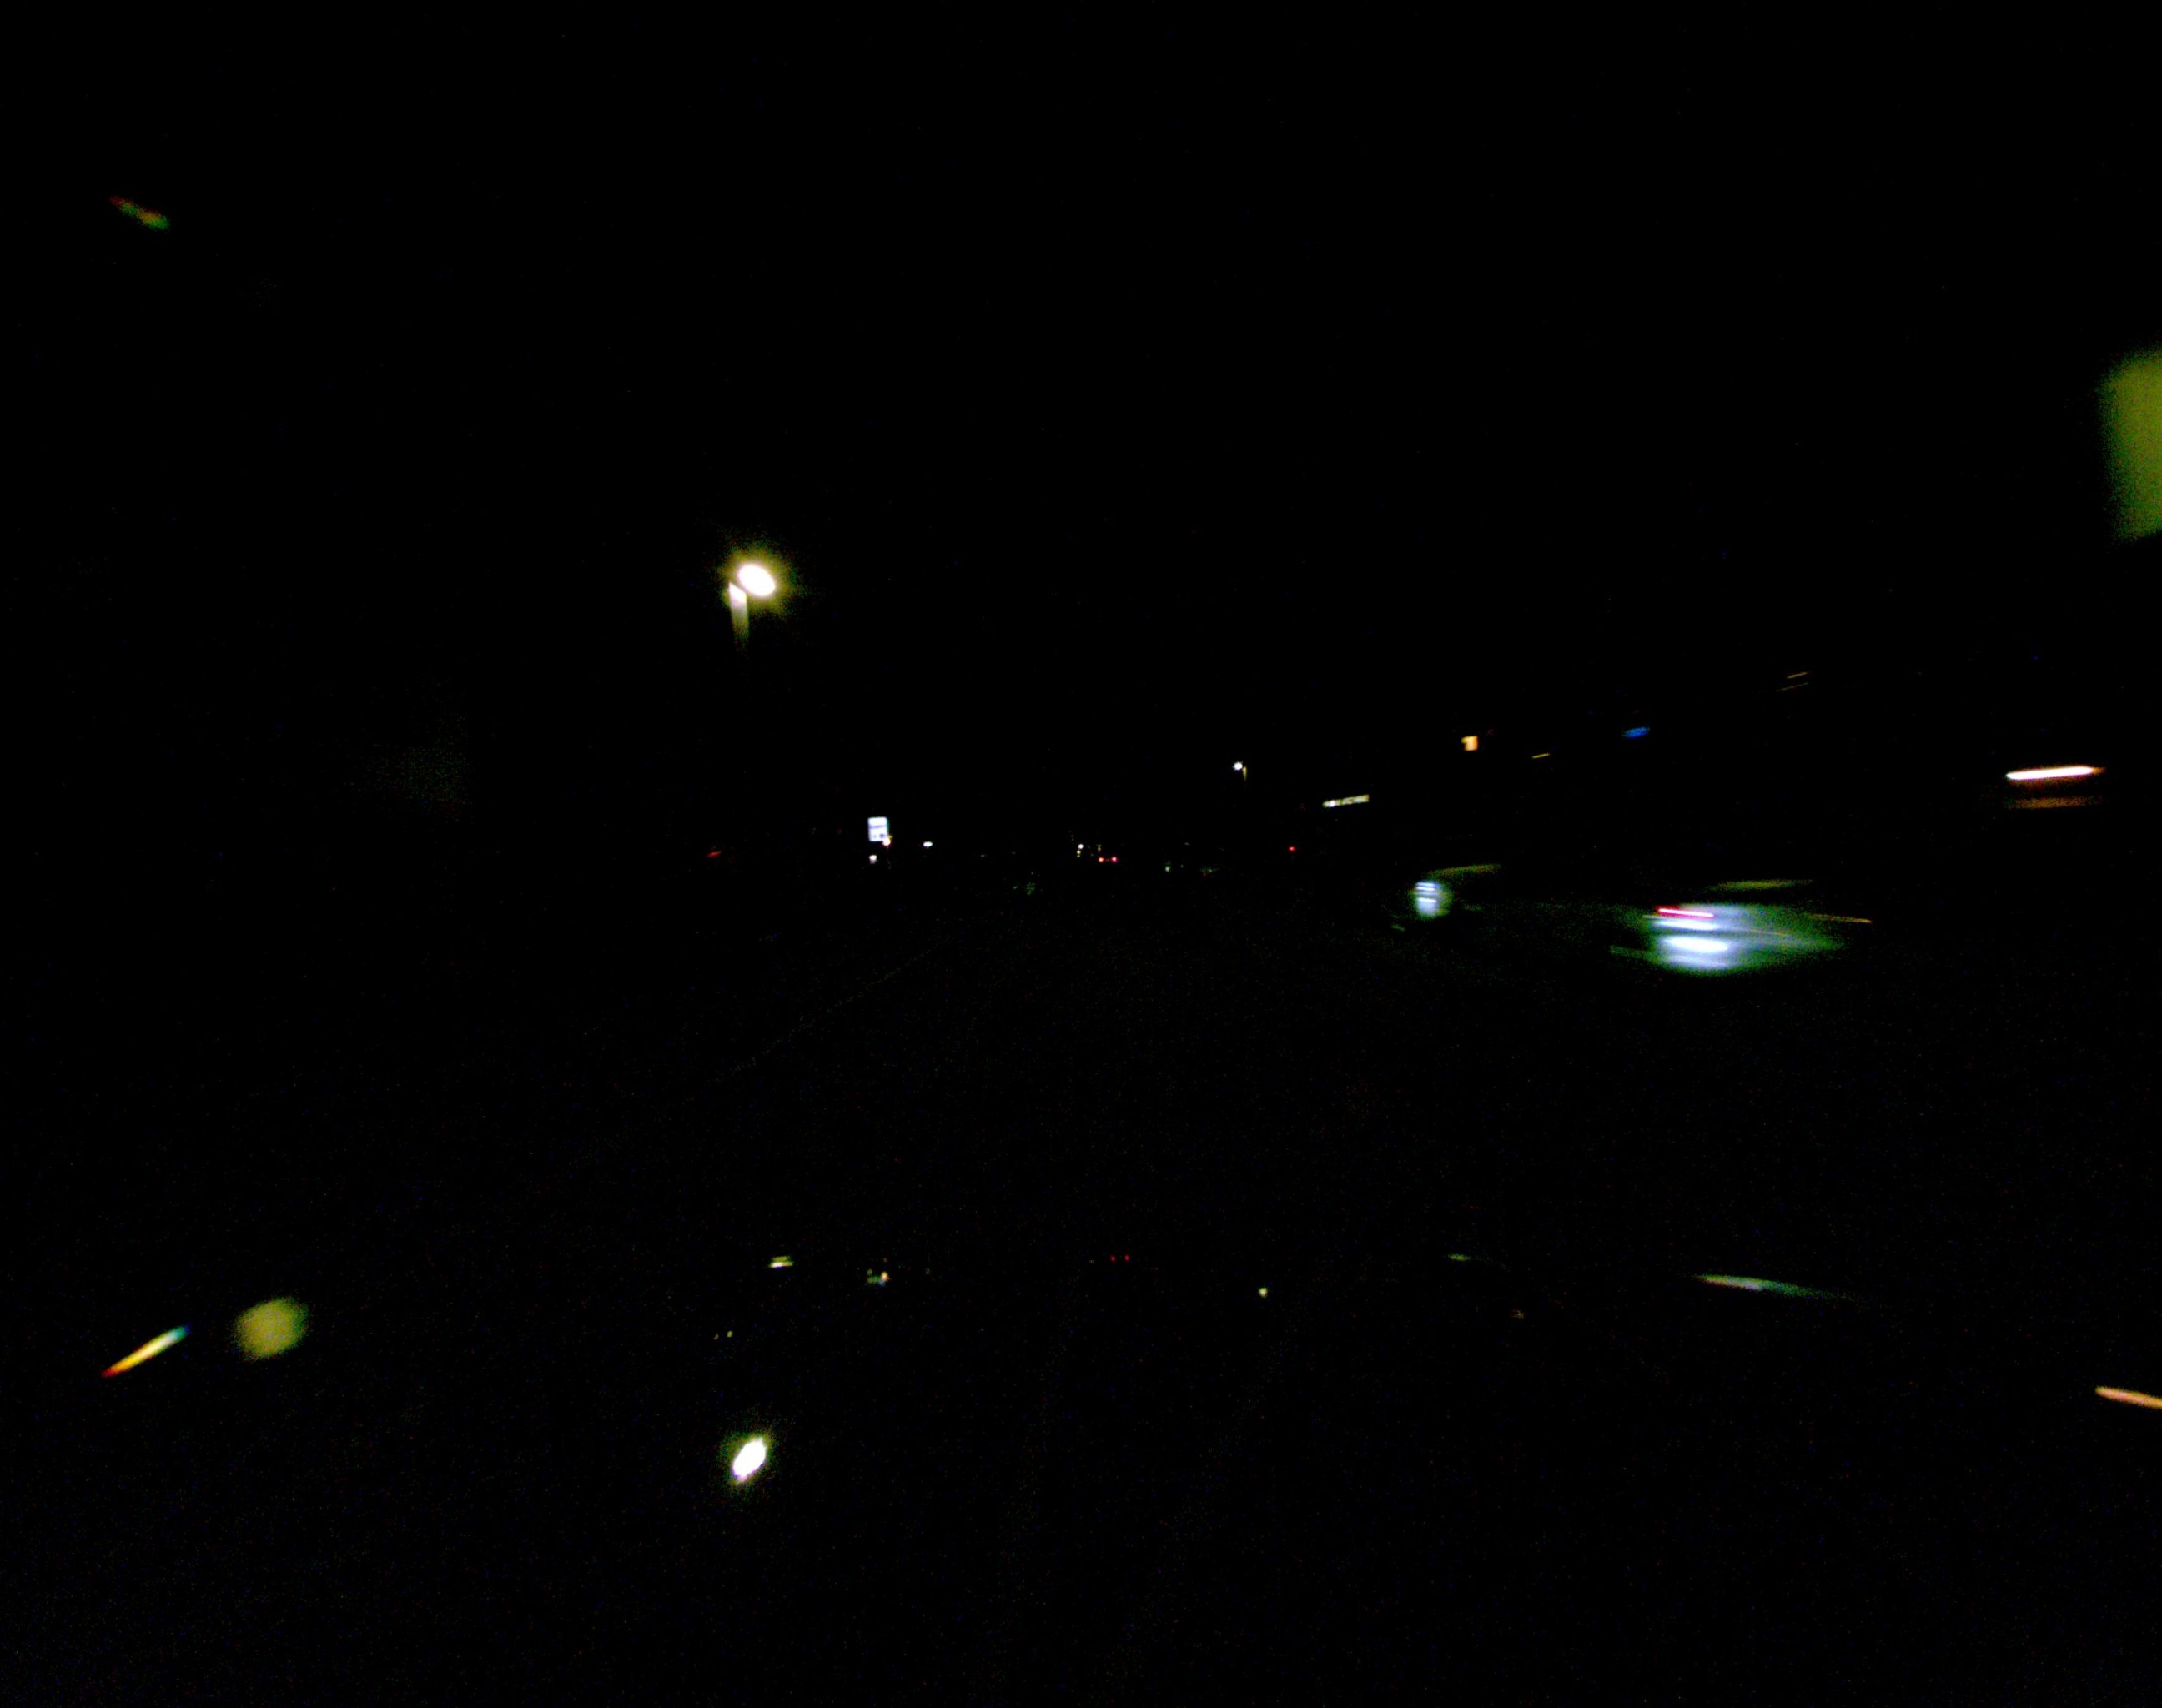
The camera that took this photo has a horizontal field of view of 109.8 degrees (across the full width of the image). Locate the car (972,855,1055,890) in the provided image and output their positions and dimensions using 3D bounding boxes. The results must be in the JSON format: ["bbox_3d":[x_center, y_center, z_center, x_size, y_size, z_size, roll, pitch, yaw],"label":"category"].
[{"bbox_3d":[-3.306,0.880,37.689,3.926,1.505,1.854,-2,1,0],"label":"car"}]

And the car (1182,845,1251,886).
[{"bbox_3d":[6.046,0.459,34.503,2.121,1.539,4.475,-5,1,-2],"label":"car"}]

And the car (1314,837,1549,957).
[{"bbox_3d":[5.816,0.626,13.352,1.933,1.627,4.470,-4,0,-1],"label":"car"}]

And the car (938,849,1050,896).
[{"bbox_3d":[-3.652,0.765,32.501,4.363,1.805,2.032,-2,0,6],"label":"car"}]

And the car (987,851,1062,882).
[{"bbox_3d":[-3.183,0.698,43.424,3.924,1.542,1.988,-2,0,5],"label":"car"}]

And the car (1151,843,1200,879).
[{"bbox_3d":[5.684,0.416,46.360,2.121,1.935,4.887,-4,0,-1],"label":"car"}]

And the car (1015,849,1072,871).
[{"bbox_3d":[-3.446,0.567,70.703,5.156,1.834,2.259,-2,0,0],"label":"car"}]

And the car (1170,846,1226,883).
[{"bbox_3d":[6.007,0.518,39.478,2.121,1.660,4.169,-4,0,-1],"label":"car"}]

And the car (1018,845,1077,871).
[{"bbox_3d":[-2.941,0.326,68.044,5.156,2.084,2.259,-2,0,0],"label":"car"}]

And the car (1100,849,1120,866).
[{"bbox_3d":[3.087,0.358,80.492,1.724,1.705,3.960,-4,0,-2],"label":"car"}]

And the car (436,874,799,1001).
[{"bbox_3d":[-6.277,1.095,10.653,3.914,1.477,1.832,-1,1,0],"label":"car"}]

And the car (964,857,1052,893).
[{"bbox_3d":[-3.353,0.955,35.457,3.927,1.505,1.854,-2,0,-3],"label":"car"}]

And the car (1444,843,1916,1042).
[{"bbox_3d":[5.741,0.707,8.058,1.775,1.460,3.966,-4,0,-1],"label":"car"}]
